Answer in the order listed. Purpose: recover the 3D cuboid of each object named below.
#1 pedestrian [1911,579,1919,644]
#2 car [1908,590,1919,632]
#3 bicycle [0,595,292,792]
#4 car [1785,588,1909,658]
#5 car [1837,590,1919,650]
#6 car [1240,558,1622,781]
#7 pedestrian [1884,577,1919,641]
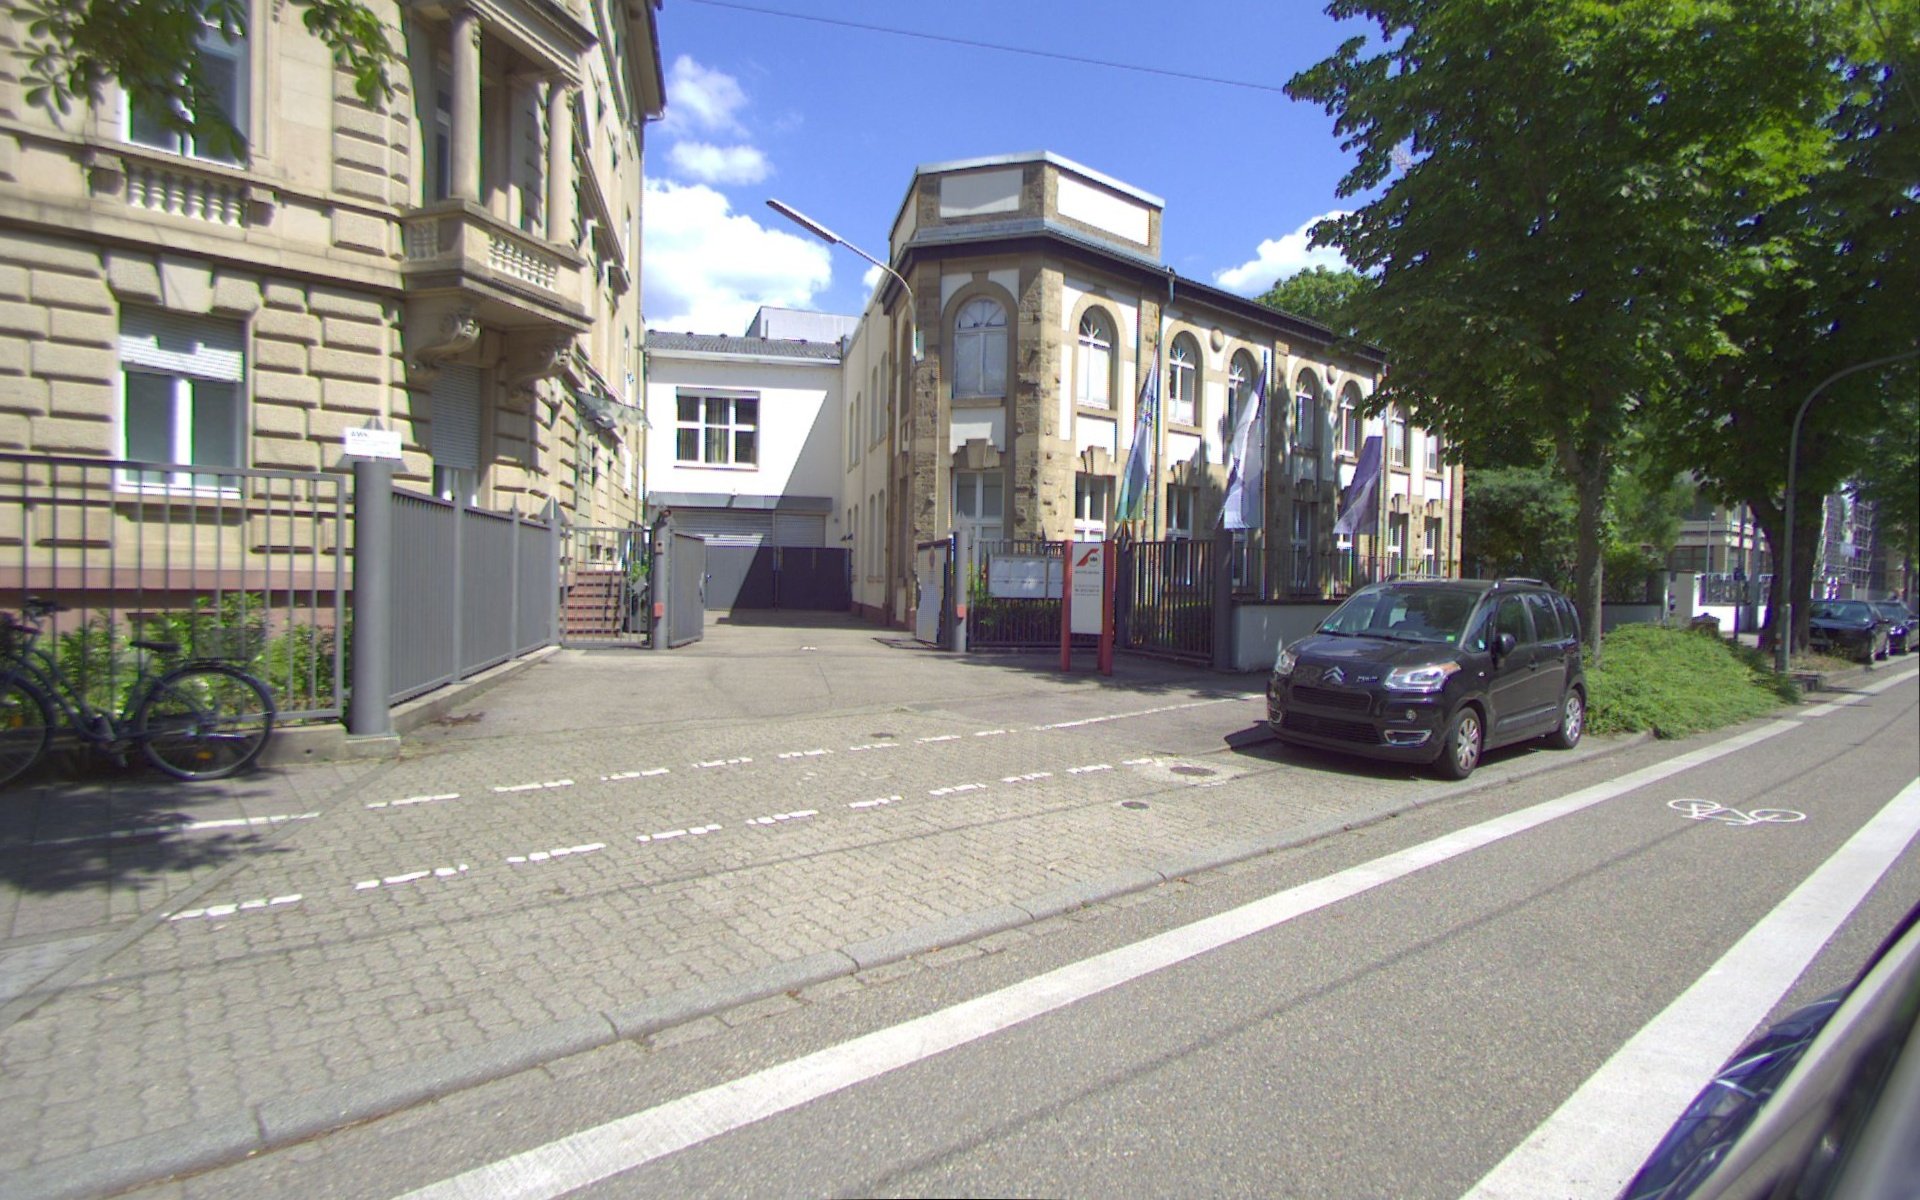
[{"bbox_3d":[28.201,0.338,29.322,0.724,1.873,0.648,1,1,-23],"label":"pedestrian"},{"bbox_3d":[35.010,0.418,35.834,3.930,1.420,1.626,0,4,-41],"label":"car"},{"bbox_3d":[-5.240,0.521,6.132,1.944,1.084,0.609,0,2,-39],"label":"bicycle"},{"bbox_3d":[20.883,0.493,23.789,3.756,1.420,1.626,0,4,-41],"label":"car"},{"bbox_3d":[25.712,0.500,27.953,3.930,1.420,1.626,0,4,-41],"label":"car"},{"bbox_3d":[4.604,0.499,9.648,4.012,1.635,1.734,0,4,-41],"label":"car"},{"bbox_3d":[28.208,0.256,30.165,0.724,1.873,0.648,1,1,-14],"label":"pedestrian"}]
